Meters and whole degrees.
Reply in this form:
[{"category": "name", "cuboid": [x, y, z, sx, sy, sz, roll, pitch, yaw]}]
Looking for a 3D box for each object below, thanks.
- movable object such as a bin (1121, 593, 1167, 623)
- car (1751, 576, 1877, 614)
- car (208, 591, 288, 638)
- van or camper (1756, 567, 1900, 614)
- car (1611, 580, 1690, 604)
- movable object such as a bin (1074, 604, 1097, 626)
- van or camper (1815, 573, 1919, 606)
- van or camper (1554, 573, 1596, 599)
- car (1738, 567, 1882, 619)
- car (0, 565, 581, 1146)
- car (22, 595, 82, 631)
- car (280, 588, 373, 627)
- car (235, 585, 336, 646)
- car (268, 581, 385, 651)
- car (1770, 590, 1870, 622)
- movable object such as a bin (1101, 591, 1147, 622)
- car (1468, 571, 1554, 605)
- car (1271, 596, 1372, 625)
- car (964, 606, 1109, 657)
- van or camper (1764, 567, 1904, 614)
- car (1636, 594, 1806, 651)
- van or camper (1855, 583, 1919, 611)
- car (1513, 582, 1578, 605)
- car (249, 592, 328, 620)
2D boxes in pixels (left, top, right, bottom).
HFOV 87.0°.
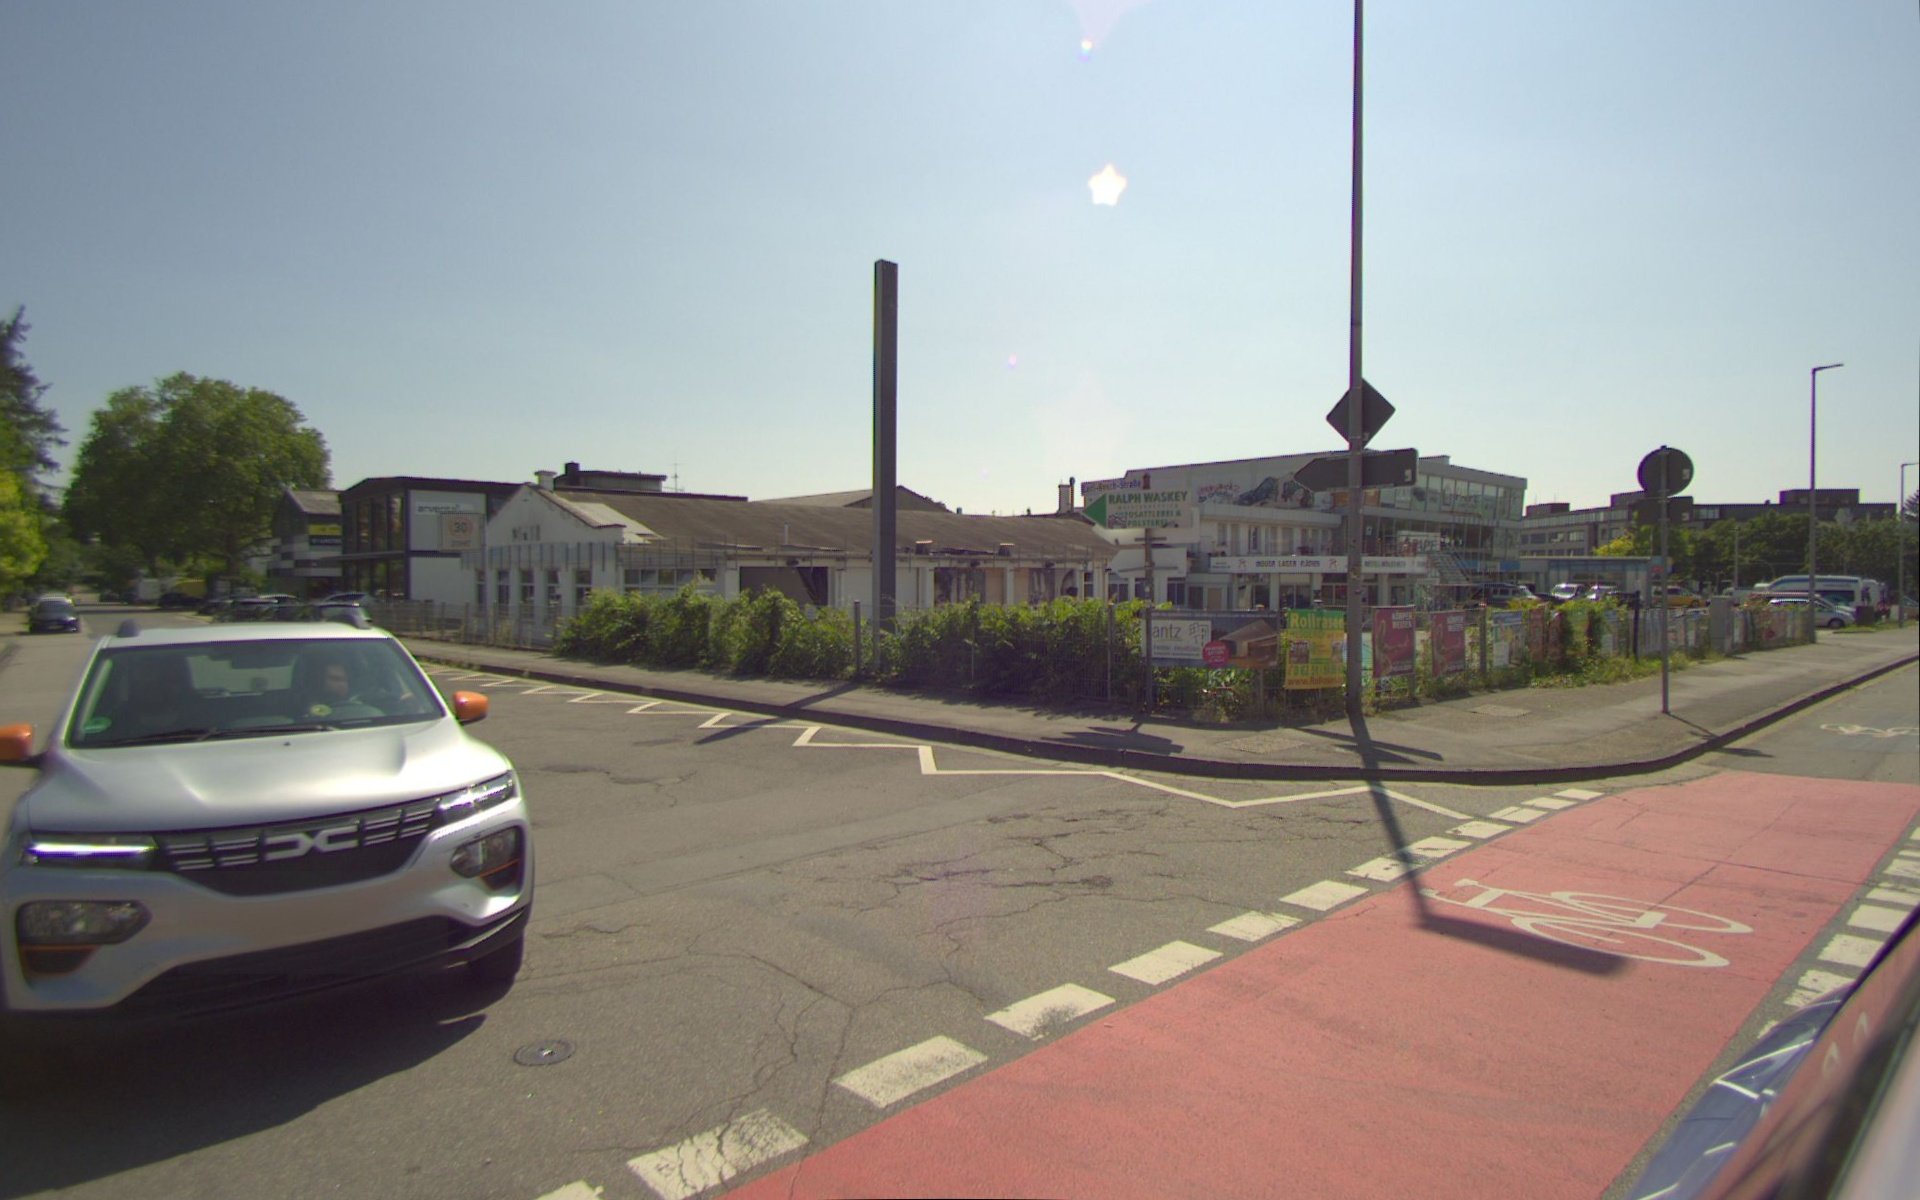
[{"category": "movable object such as a bin", "cuboid": [9.302, 0.388, 51.120, 1.570, 1.474, 1.797, 0, 0, 43]}, {"category": "car", "cuboid": [48.436, -0.307, 57.472, 1.966, 1.976, 5.242, 0, 2, -42]}, {"category": "car", "cuboid": [-28.494, 0.542, 40.474, 3.988, 1.794, 1.968, 0, 0, 45]}, {"category": "van or camper", "cuboid": [52.446, -0.632, 61.267, 2.666, 2.734, 6.358, 0, 1, -42]}, {"category": "car", "cuboid": [50.869, -0.605, 74.600, 4.539, 1.699, 1.968, 2, 1, 44]}, {"category": "movable object such as a bin", "cuboid": [6.007, 0.714, 48.607, 0.745, 1.049, 0.863, 0, 0, 43]}, {"category": "van or camper", "cuboid": [75.087, -0.892, 83.650, 6.265, 2.669, 2.524, 1, 1, 12]}, {"category": "van or camper", "cuboid": [50.403, -1.171, 82.895, 2.116, 2.039, 5.038, 1, 1, 42]}, {"category": "car", "cuboid": [49.921, -0.486, 59.551, 2.280, 2.905, 6.238, 0, 1, -41]}, {"category": "car", "cuboid": [-3.191, 0.743, 4.477, 1.697, 1.504, 3.670, 0, -3, -40]}, {"category": "car", "cuboid": [-42.489, 0.570, 47.343, 1.967, 1.571, 3.990, 0, 1, -44]}, {"category": "car", "cuboid": [-33.073, 0.365, 52.855, 3.927, 1.927, 1.762, 0, 1, -39]}, {"category": "car", "cuboid": [-21.805, 0.477, 32.663, 3.987, 1.817, 1.968, -1, -1, 45]}, {"category": "car", "cuboid": [-18.178, 0.405, 28.957, 3.988, 1.816, 1.968, 2, 1, 45]}, {"category": "car", "cuboid": [46.784, 0.308, 55.103, 1.767, 1.613, 3.927, 0, 1, -42]}, {"category": "movable object such as a bin", "cuboid": [8.063, 0.321, 49.808, 1.570, 1.474, 1.728, 0, 0, 43]}, {"category": "car", "cuboid": [41.412, -0.905, 76.167, 5.297, 2.449, 2.290, 2, 1, 44]}, {"category": "car", "cuboid": [18.451, 0.539, 51.823, 4.478, 1.306, 1.890, -2, 0, 9]}, {"category": "car", "cuboid": [2.319, 0.934, 31.583, 2.082, 1.416, 4.336, 0, 0, -41]}, {"category": "van or camper", "cuboid": [54.434, -0.638, 63.140, 2.666, 2.750, 6.358, 0, 1, -42]}, {"category": "car", "cuboid": [26.325, 0.721, 35.284, 1.986, 1.641, 5.047, -5, 0, 0]}, {"category": "van or camper", "cuboid": [70.875, -0.206, 75.935, 5.068, 1.985, 1.976, 2, 3, 18]}, {"category": "car", "cuboid": [46.021, -0.516, 79.581, 4.106, 1.754, 1.968, 2, 1, 44]}, {"category": "car", "cuboid": [-42.030, 0.351, 63.380, 3.930, 1.670, 1.761, 0, 1, -41]}]
